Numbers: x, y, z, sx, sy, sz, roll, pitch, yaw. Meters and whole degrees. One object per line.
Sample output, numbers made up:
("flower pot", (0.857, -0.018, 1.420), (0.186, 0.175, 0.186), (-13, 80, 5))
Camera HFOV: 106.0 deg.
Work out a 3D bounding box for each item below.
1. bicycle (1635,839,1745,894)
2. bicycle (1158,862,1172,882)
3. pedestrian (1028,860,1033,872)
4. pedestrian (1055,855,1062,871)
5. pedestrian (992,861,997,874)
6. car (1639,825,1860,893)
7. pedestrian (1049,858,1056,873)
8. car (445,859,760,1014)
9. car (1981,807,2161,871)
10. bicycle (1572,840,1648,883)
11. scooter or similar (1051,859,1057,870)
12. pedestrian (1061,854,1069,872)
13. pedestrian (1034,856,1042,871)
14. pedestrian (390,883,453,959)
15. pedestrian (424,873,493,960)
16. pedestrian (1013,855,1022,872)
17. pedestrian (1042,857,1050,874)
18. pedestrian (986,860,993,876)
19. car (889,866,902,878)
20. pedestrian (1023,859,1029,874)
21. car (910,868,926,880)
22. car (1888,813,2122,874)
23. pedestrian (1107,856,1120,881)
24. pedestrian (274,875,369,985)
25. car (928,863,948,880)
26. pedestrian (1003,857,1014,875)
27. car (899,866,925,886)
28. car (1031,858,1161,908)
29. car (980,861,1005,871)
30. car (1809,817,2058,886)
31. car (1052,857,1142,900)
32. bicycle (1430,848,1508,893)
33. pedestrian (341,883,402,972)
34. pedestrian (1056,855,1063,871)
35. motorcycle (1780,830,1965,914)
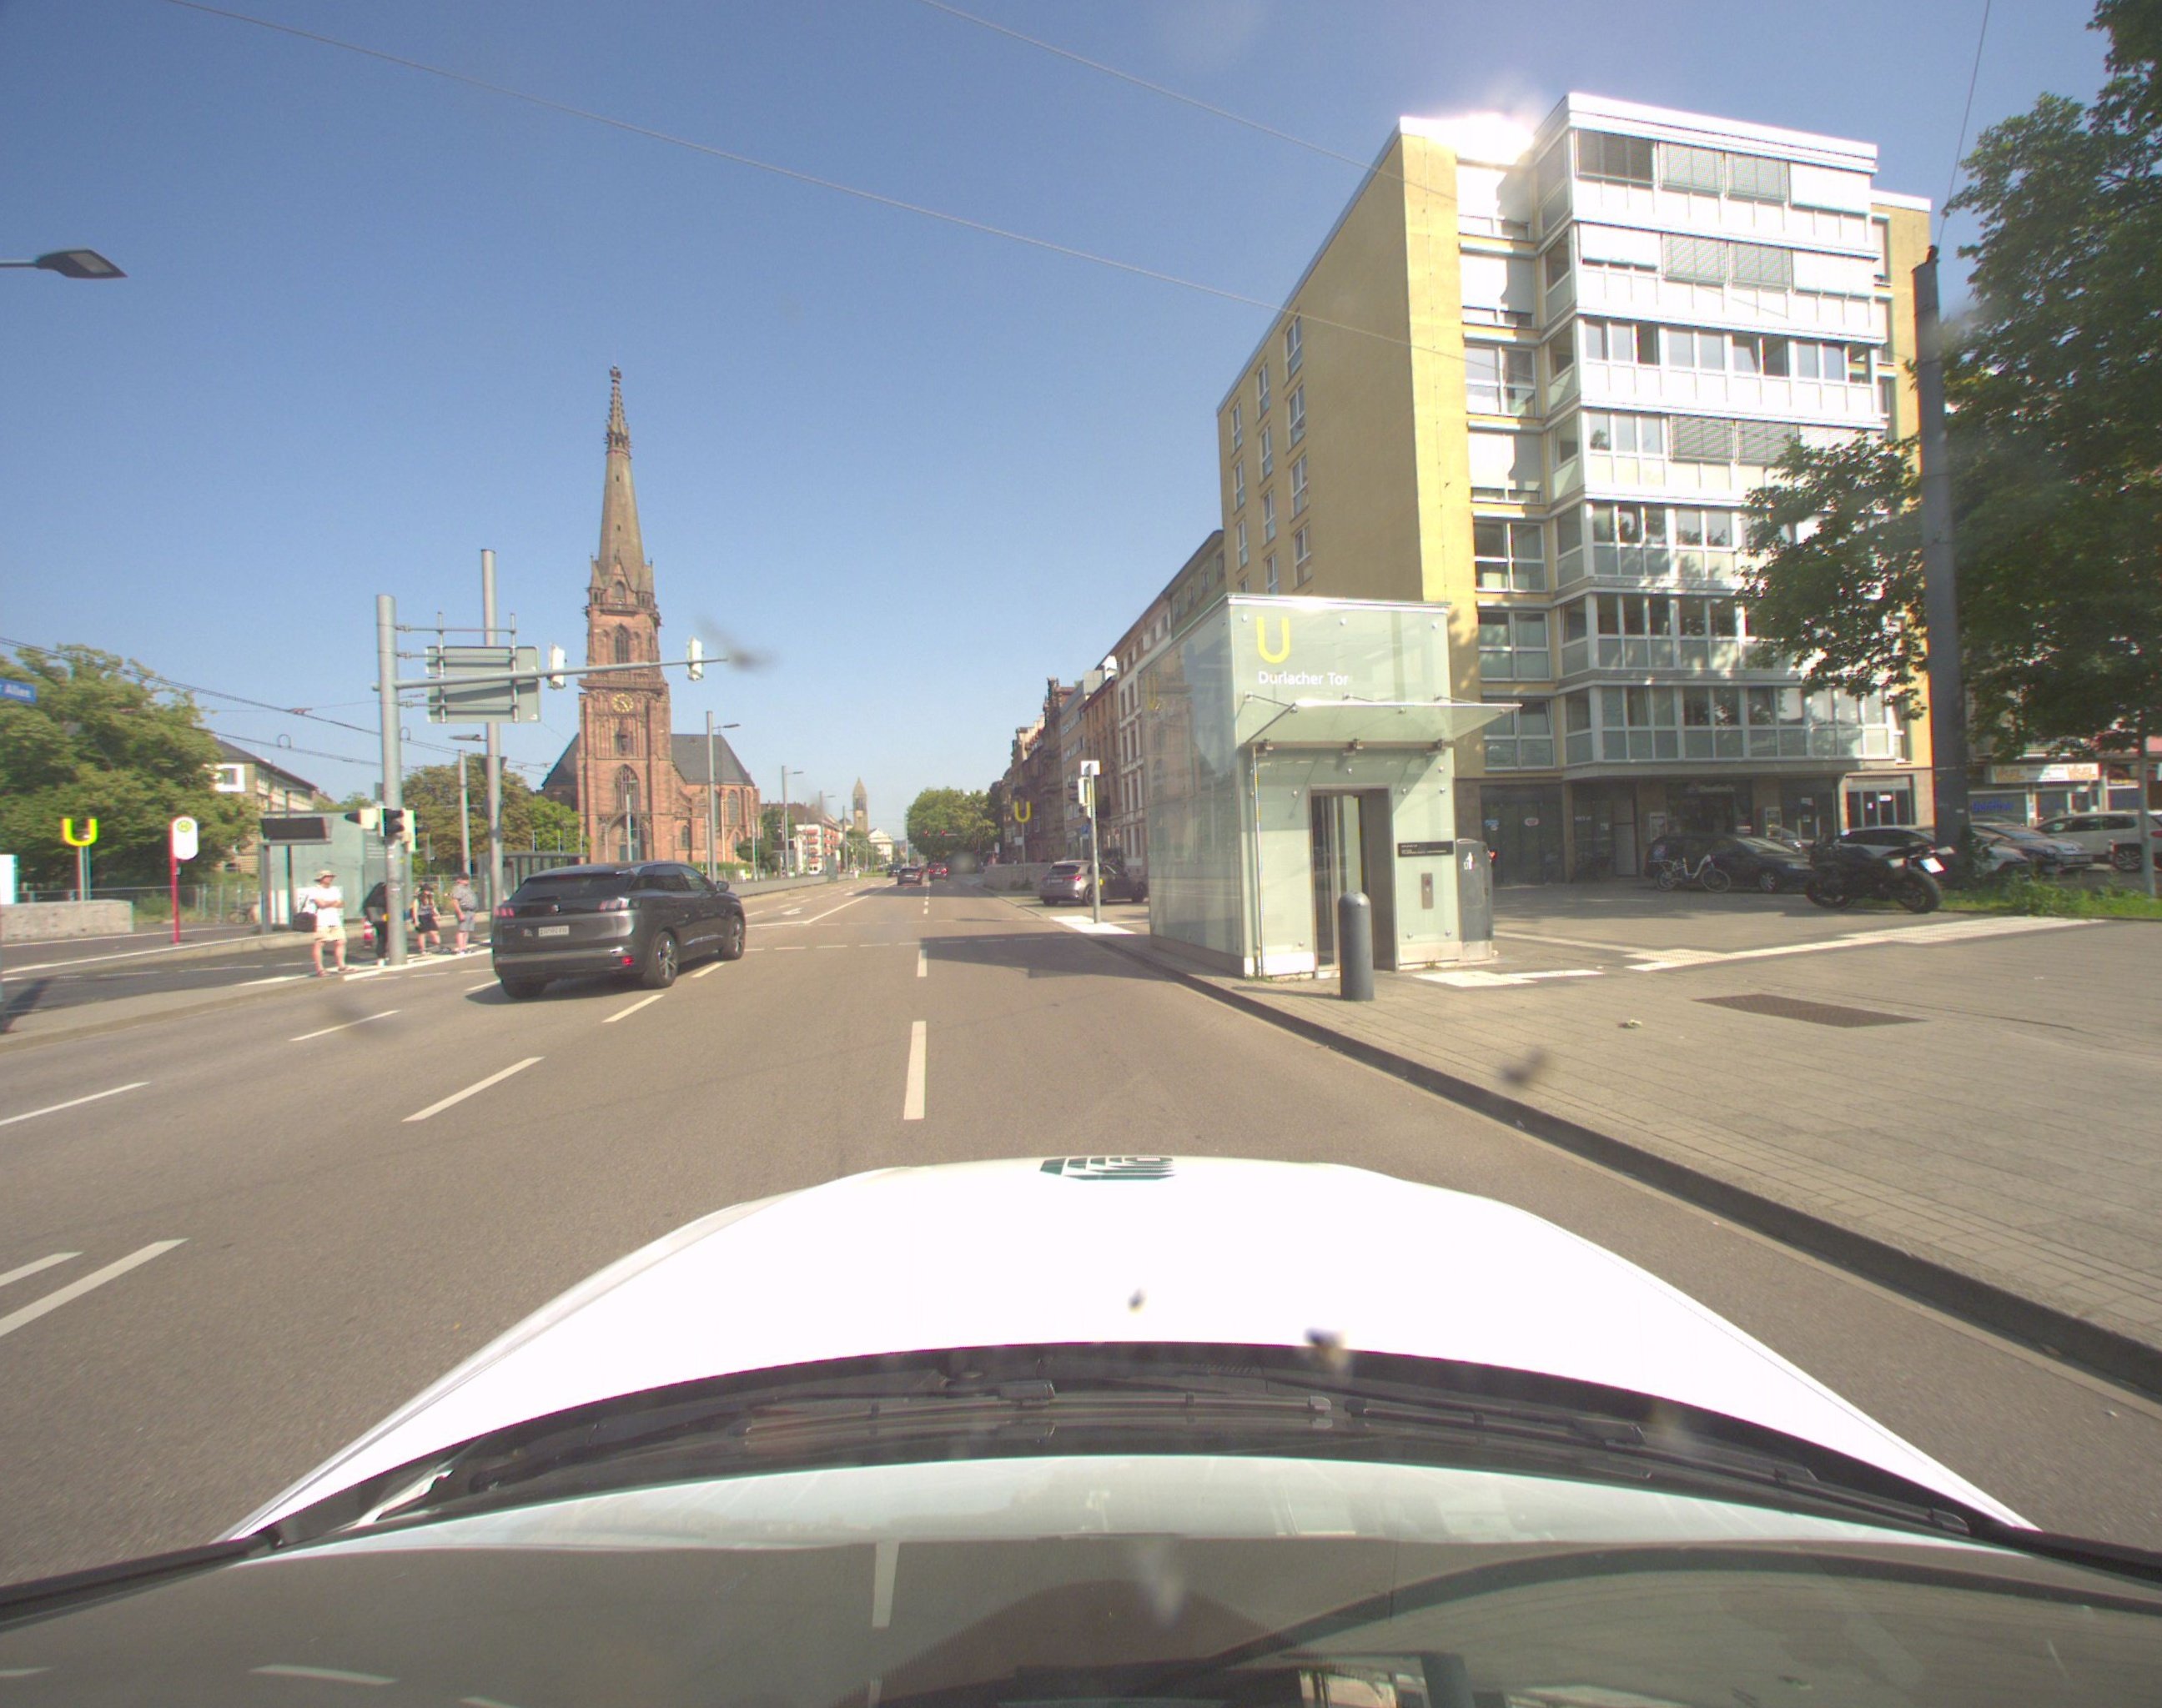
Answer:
("bicycle", (14.915, 0.304, 20.041), (0.523, 1.235, 2.289), (-2, 0, -15))
("bicycle", (5.108, 1.091, 49.709), (0.383, 1.134, 1.713), (-2, 0, -10))
("pedestrian", (-6.396, 1.521, 103.689), (0.486, 1.610, 0.810), (-2, -1, -10))
("pedestrian", (-2.486, 1.007, 90.566), (0.604, 1.692, 0.584), (-2, 0, -14))
("pedestrian", (-11.079, 1.714, 104.727), (0.482, 1.702, 0.700), (-2, 0, -14))
("car", (16.449, 0.129, 20.341), (1.656, 1.441, 4.180), (-3, 0, -9))
("pedestrian", (-3.298, 1.291, 93.021), (0.604, 1.654, 0.584), (-2, 0, -14))
("car", (-6.161, 0.921, 11.239), (1.990, 1.621, 4.349), (-2, 0, -5))
("car", (28.802, -0.414, 23.060), (1.993, 1.644, 3.987), (-3, 0, -10))
("bicycle", (16.226, 0.232, 24.971), (2.017, 1.183, 0.668), (-3, 0, -11))
("scooter or similar", (-2.918, 1.156, 88.366), (0.360, 1.163, 1.147), (-2, 0, -13))
("pedestrian", (-1.608, 0.915, 83.628), (0.604, 1.831, 0.739), (-2, 0, -14))
("pedestrian", (-4.658, 1.012, 88.312), (0.720, 1.610, 0.853), (-2, -1, -10))
("pedestrian", (-14.446, 1.460, 17.847), (0.808, 1.547, 0.546), (-5, 0, -10))
("pedestrian", (-12.935, 1.286, 16.949), (0.814, 1.692, 0.649), (-5, 0, -11))
("pedestrian", (-6.682, 1.024, 85.180), (0.750, 1.729, 0.797), (-2, 0, -14))
("pedestrian", (-3.767, 1.234, 88.263), (0.720, 1.787, 0.853), (-2, -1, -10))
("pedestrian", (-10.229, 1.547, 90.861), (0.565, 1.729, 0.742), (-2, 0, -14))
("car", (-26.146, 2.501, 114.844), (1.742, 1.526, 3.857), (-3, 0, -12))
("pedestrian", (-7.031, 1.595, 103.662), (0.617, 1.804, 1.068), (-2, -1, -10))
("car", (-19.922, 2.404, 99.518), (1.864, 1.424, 4.341), (-1, 0, -10))
("car", (26.291, -0.263, 23.403), (1.993, 1.507, 3.987), (-3, 0, -10))
("pedestrian", (2.109, 0.929, 52.999), (0.609, 1.629, 0.734), (-2, -1, -10))
("pedestrian", (-13.258, 1.297, 14.235), (0.831, 1.788, 0.728), (-5, 0, -3))
("car", (-14.087, 1.708, 80.206), (1.832, 1.621, 4.341), (-1, 0, -10))
("pedestrian", (-7.267, 1.199, 81.901), (0.927, 1.831, 0.797), (-2, 0, -14))
("car", (-12.939, 1.638, 62.484), (1.864, 1.424, 4.341), (-1, 0, -10))
("car", (0.572, 0.927, 26.798), (1.824, 1.423, 4.437), (-3, -1, 40))
("car", (-15.814, 2.200, 145.538), (4.188, 1.563, 1.990), (-3, 0, -15))
("car", (21.656, -0.047, 20.947), (1.993, 1.507, 3.987), (-3, 0, -10))
("car", (0.660, 0.899, 31.073), (1.602, 1.464, 3.551), (-3, -1, 37))
("bicycle", (11.243, 0.469, 23.616), (2.017, 1.206, 0.668), (-3, 0, -11))
("pedestrian", (-13.609, 1.396, 15.638), (0.633, 1.597, 0.466), (-5, 0, -13))
("pedestrian", (-2.398, 0.969, 89.776), (0.604, 1.731, 0.508), (-2, 0, -14))
("motorcycle", (11.994, 0.248, 12.478), (0.699, 1.147, 2.305), (-3, 0, 5))
